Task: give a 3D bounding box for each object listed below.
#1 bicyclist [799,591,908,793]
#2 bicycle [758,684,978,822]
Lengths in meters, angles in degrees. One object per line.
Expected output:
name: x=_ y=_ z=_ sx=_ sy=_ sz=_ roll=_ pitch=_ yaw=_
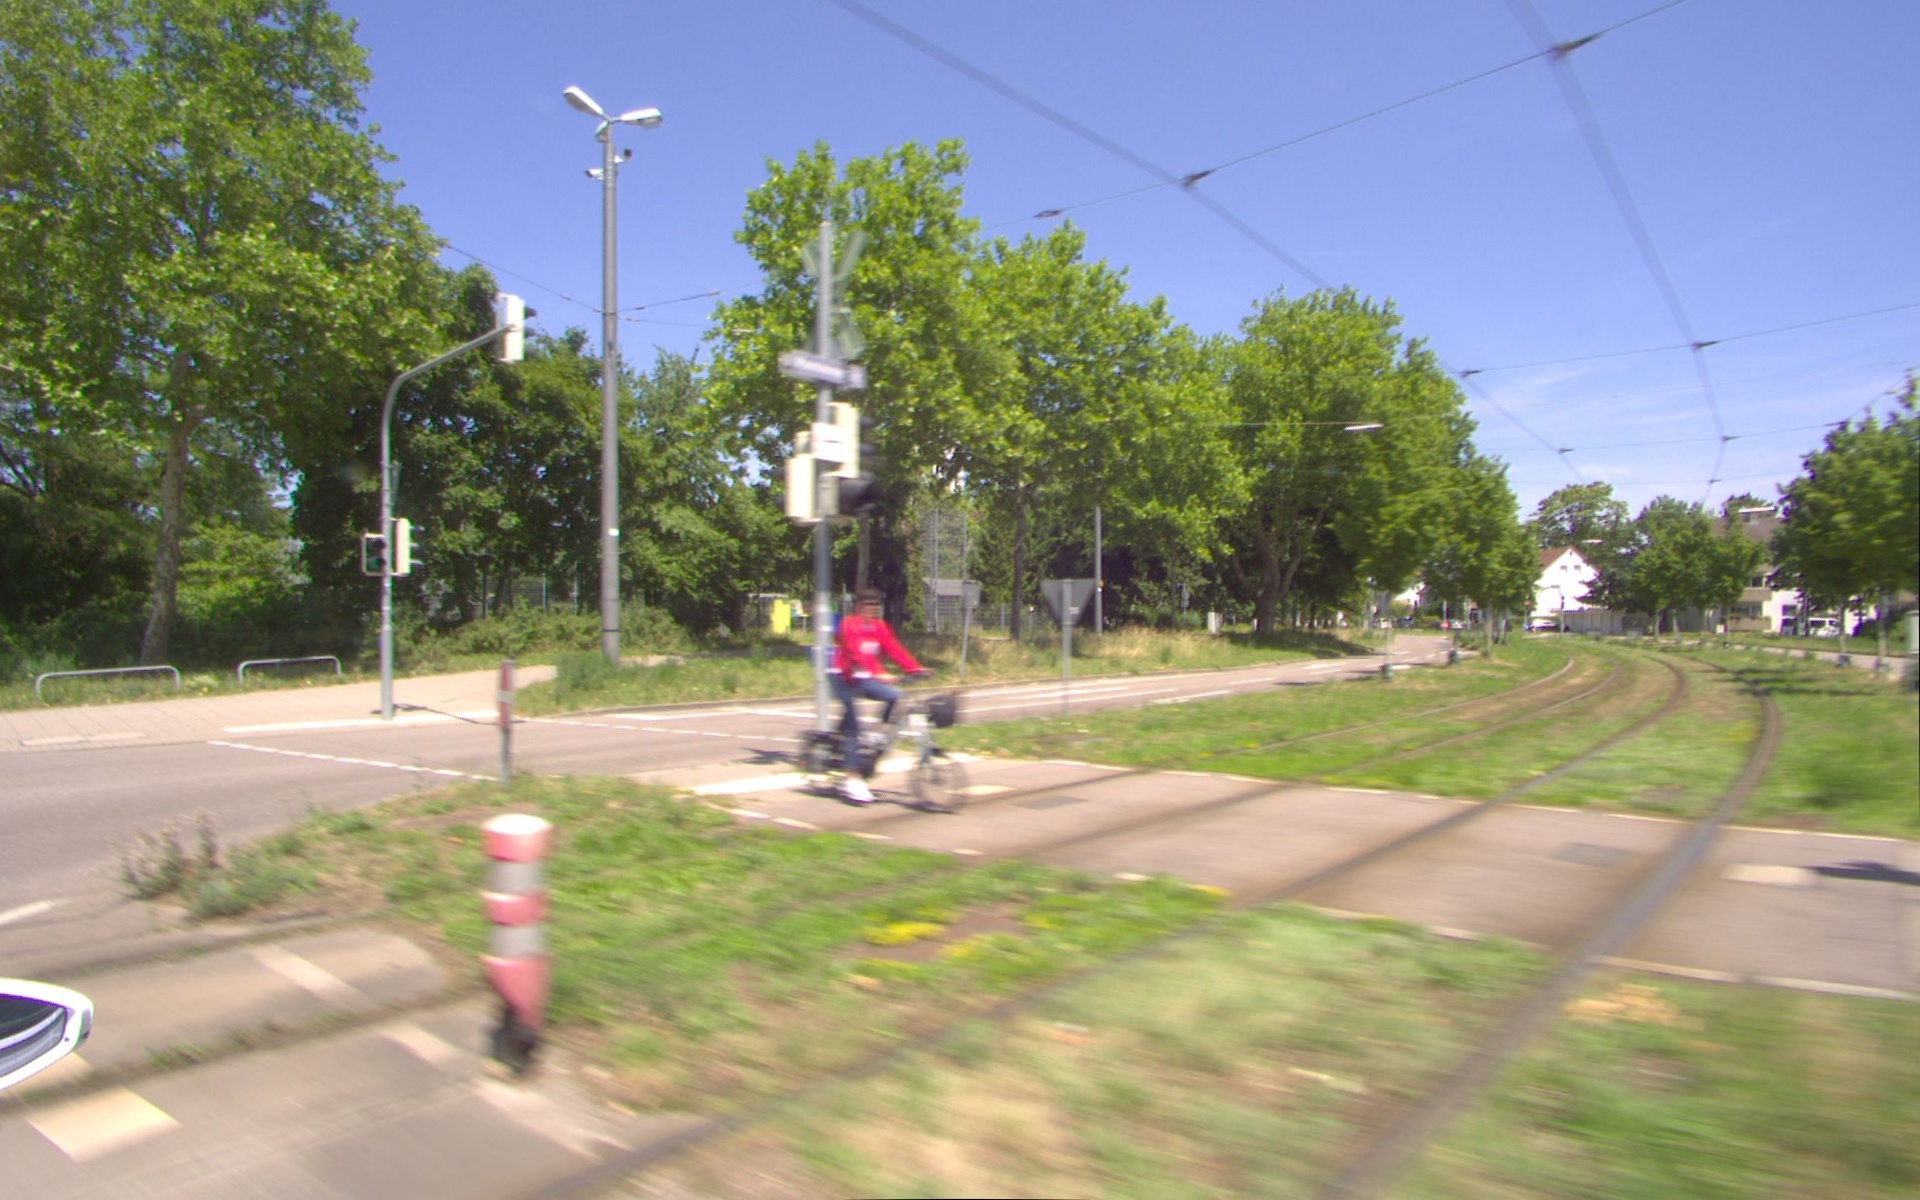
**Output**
bicyclist: x=-0.871 y=0.723 z=8.236 sx=0.663 sy=1.577 sz=0.577 roll=1 pitch=0 yaw=31
bicycle: x=-0.776 y=1.203 z=8.176 sx=1.785 sy=0.907 sz=0.586 roll=0 pitch=0 yaw=32
